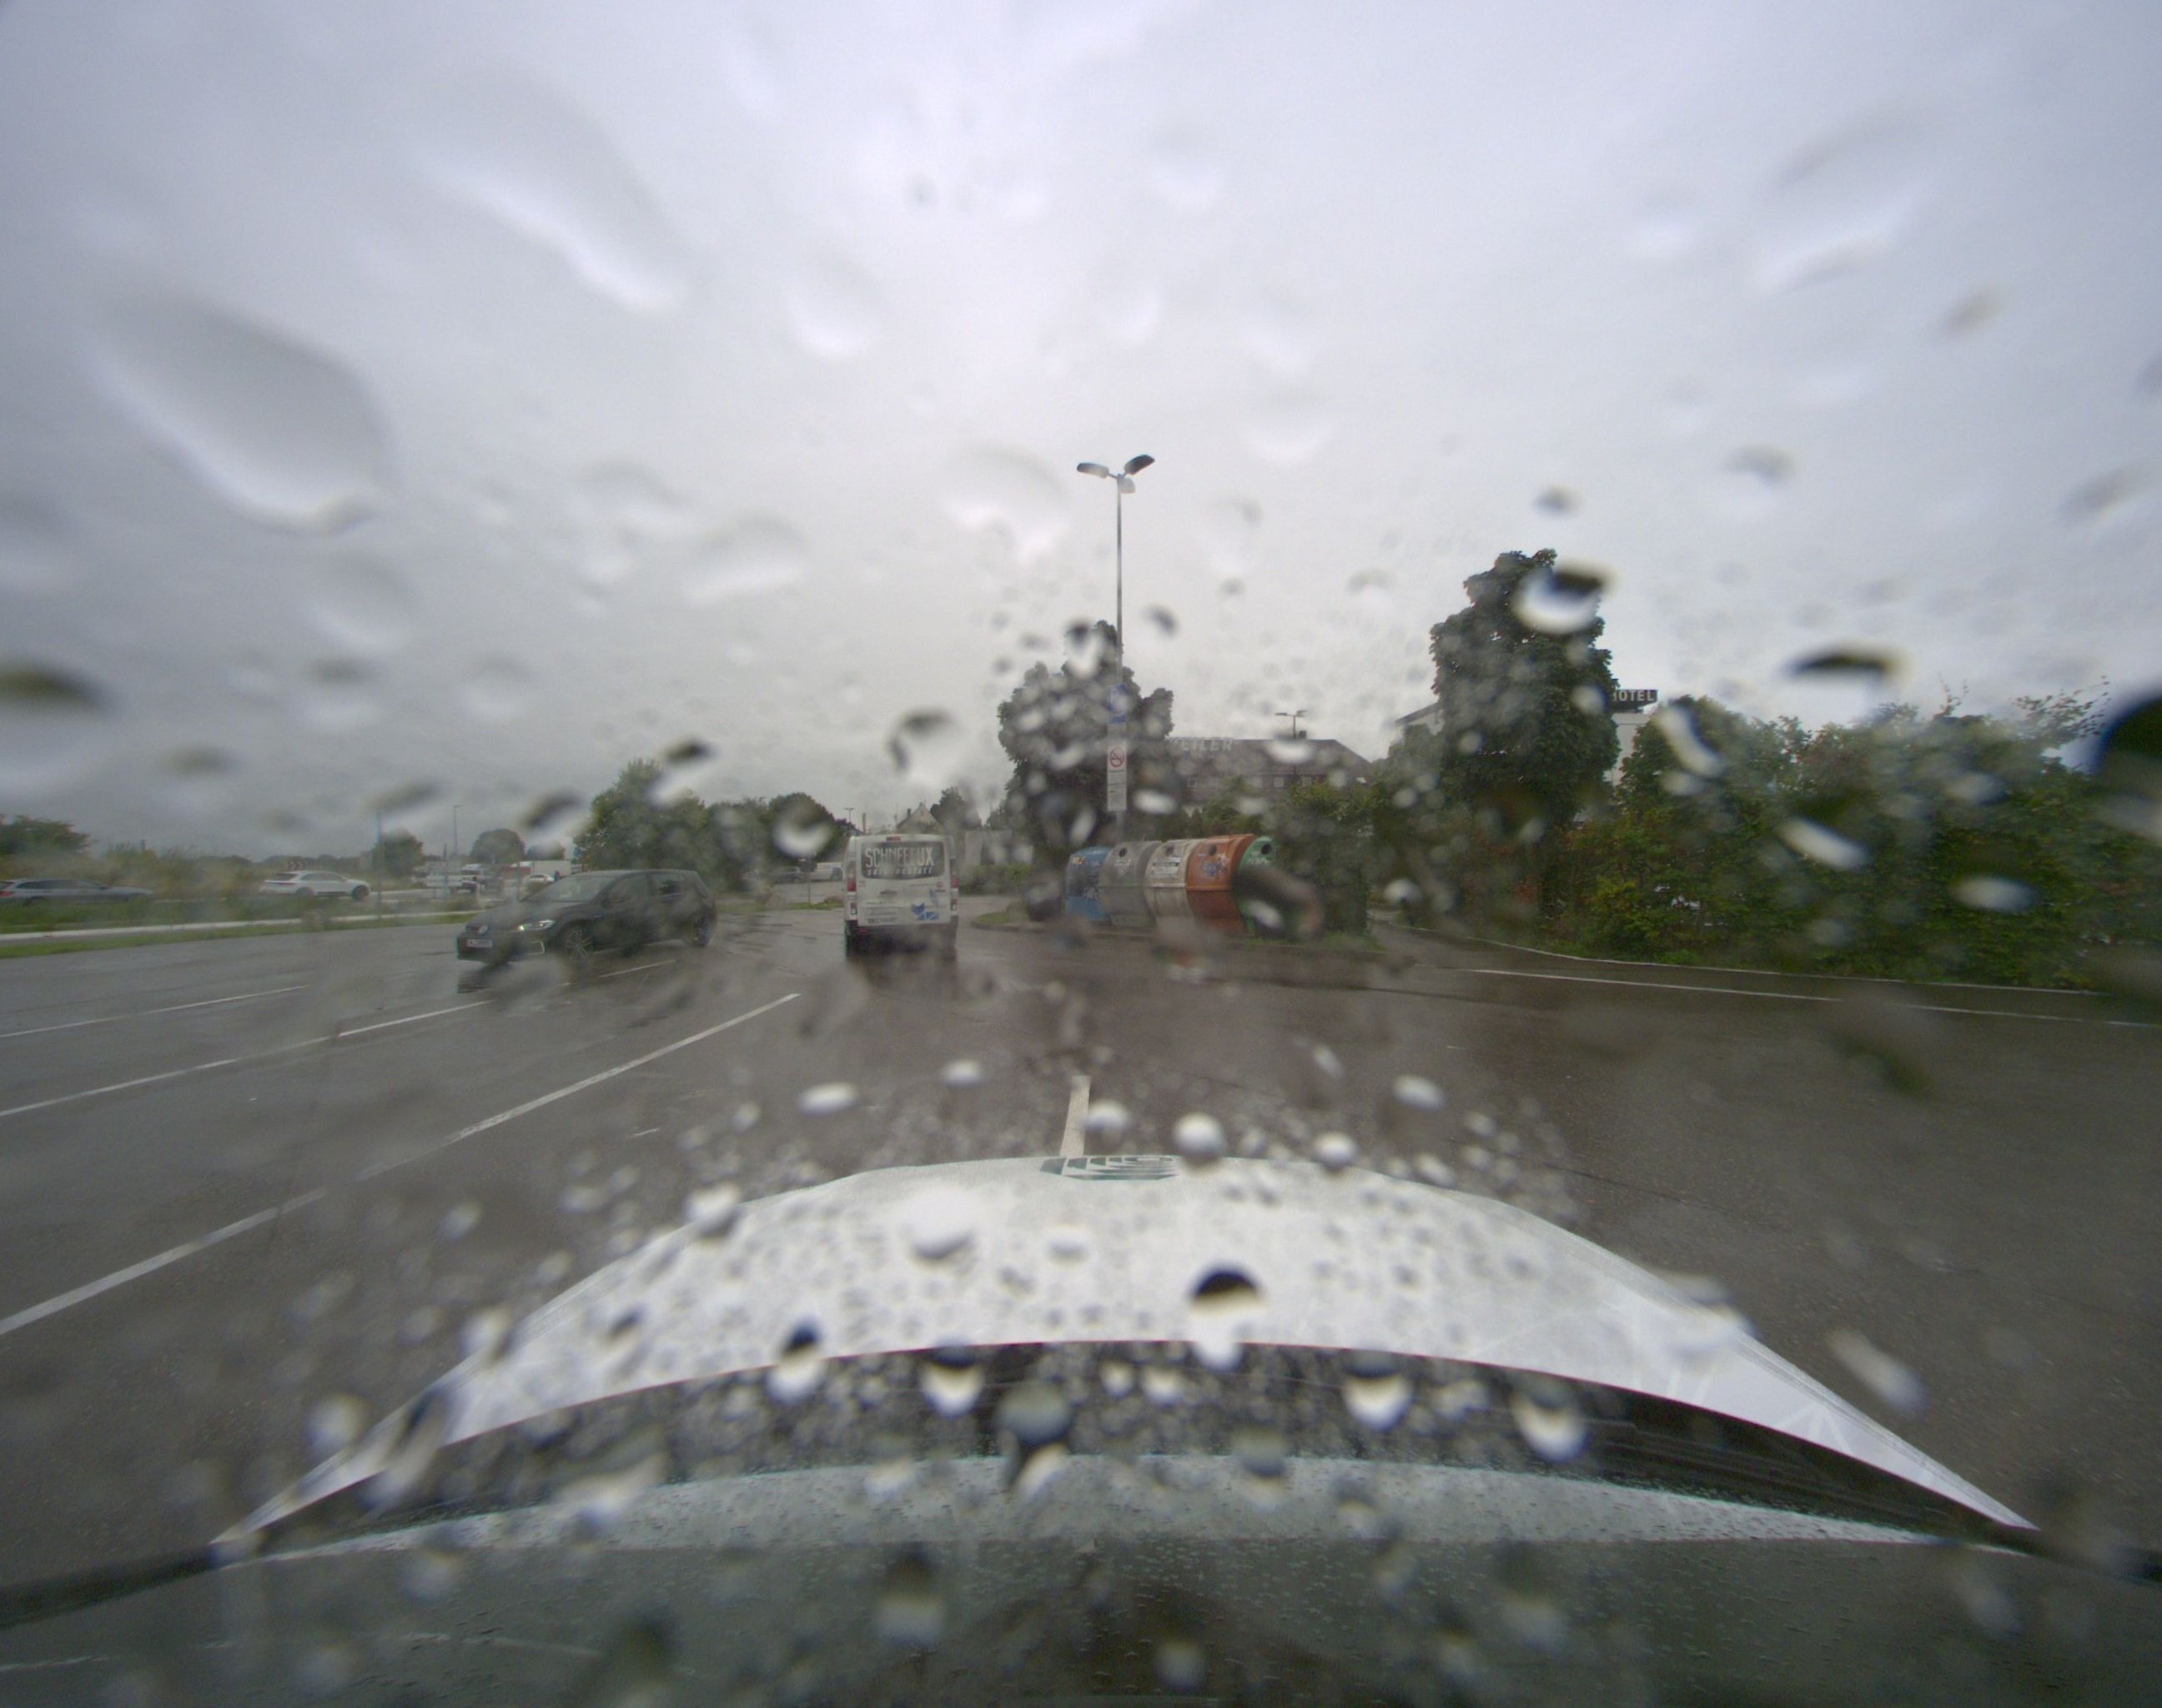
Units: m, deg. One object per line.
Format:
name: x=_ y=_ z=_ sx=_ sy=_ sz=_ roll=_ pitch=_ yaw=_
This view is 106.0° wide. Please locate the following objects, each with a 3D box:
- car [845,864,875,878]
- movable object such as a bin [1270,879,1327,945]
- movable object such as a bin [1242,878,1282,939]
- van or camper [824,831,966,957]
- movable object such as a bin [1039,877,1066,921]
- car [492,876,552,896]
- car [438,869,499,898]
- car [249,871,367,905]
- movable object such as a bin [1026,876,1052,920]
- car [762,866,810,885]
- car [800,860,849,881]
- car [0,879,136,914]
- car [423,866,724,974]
car: x=-24.717 y=1.941 z=91.076 sx=3.633 sy=1.458 sz=1.565 roll=-2 pitch=0 yaw=43
movable object such as a bin: x=3.248 y=0.855 z=12.194 sx=0.628 sy=0.920 sz=0.555 roll=-1 pitch=0 yaw=-9
movable object such as a bin: x=2.879 y=0.860 z=12.965 sx=0.493 sy=0.920 sz=0.415 roll=-1 pitch=0 yaw=-10
van or camper: x=-3.588 y=0.641 z=15.591 sx=2.191 sy=1.945 sz=5.172 roll=-1 pitch=0 yaw=-14
movable object such as a bin: x=-0.621 y=0.976 z=17.762 sx=0.450 sy=0.917 sz=0.485 roll=-1 pitch=0 yaw=-20
car: x=-53.682 y=3.065 z=78.296 sx=1.726 sy=1.759 sz=4.393 roll=-2 pitch=-1 yaw=30
car: x=-44.004 y=2.091 z=58.643 sx=1.998 sy=1.873 sz=4.618 roll=-1 pitch=0 yaw=-17
car: x=-41.436 y=1.782 z=43.813 sx=1.677 sy=1.584 sz=4.400 roll=-1 pitch=0 yaw=11
movable object such as a bin: x=-0.946 y=0.972 z=18.206 sx=0.450 sy=0.938 sz=0.485 roll=-1 pitch=0 yaw=-20
car: x=-26.536 y=1.916 z=73.286 sx=3.721 sy=1.551 sz=1.450 roll=-1 pitch=0 yaw=-2
car: x=-26.183 y=1.676 z=83.209 sx=4.507 sy=2.033 sz=1.644 roll=-1 pitch=0 yaw=-2
car: x=-44.044 y=1.802 z=35.064 sx=1.673 sy=1.326 sz=4.066 roll=-2 pitch=0 yaw=23
car: x=-8.194 y=0.977 z=13.646 sx=1.760 sy=1.433 sz=4.096 roll=-1 pitch=0 yaw=17
